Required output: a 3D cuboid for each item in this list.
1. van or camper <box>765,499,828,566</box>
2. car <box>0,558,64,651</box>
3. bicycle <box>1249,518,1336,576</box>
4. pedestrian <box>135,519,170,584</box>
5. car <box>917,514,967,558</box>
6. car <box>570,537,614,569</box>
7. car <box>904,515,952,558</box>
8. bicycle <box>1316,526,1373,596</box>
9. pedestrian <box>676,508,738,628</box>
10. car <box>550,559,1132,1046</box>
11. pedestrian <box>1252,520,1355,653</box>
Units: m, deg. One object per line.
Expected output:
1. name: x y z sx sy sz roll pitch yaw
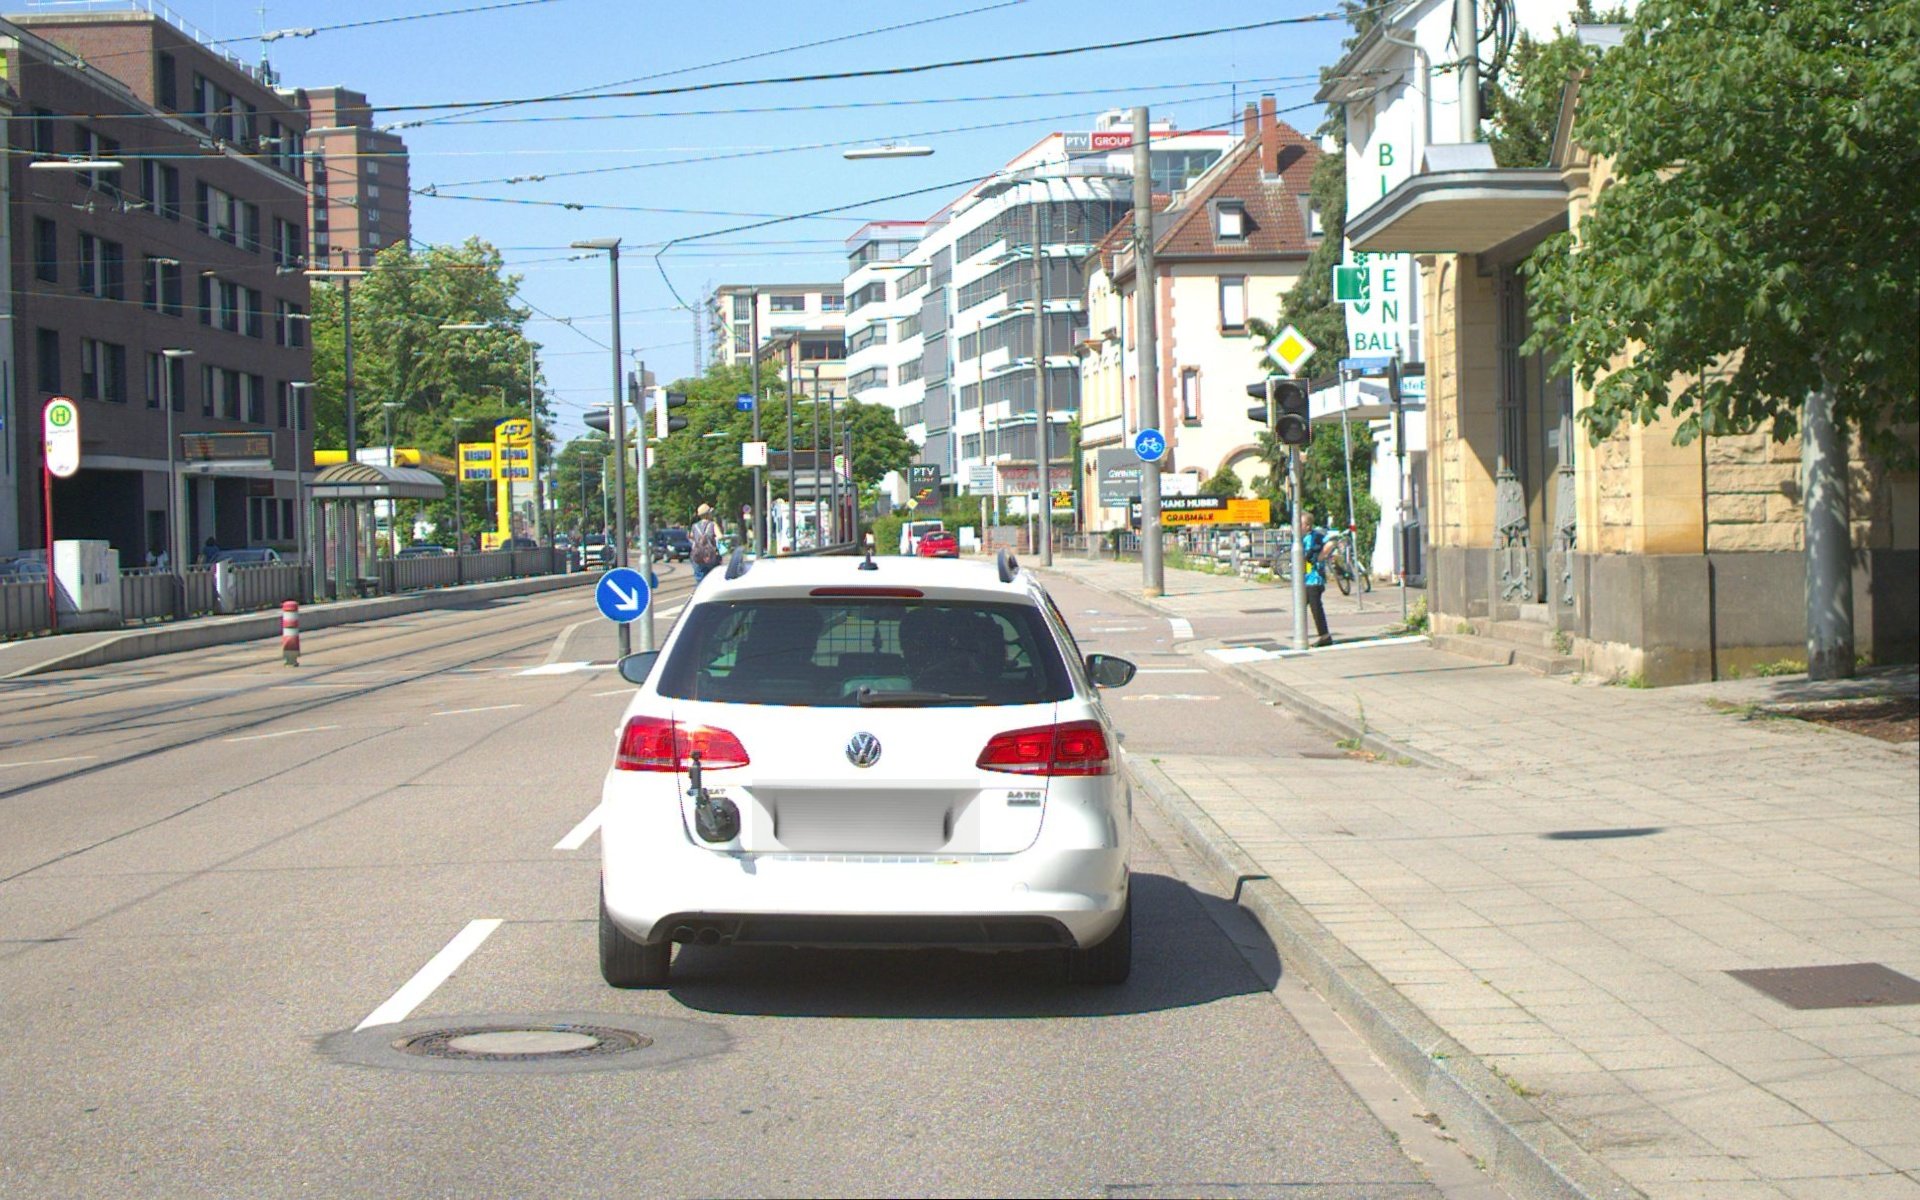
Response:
1. van or camper: -8.070 -3.356 170.315 2.943 3.169 6.614 -2 1 -2
2. car: -16.042 0.068 56.928 1.572 1.454 3.815 -2 1 -3
3. bicycle: 6.788 -1.081 70.273 1.712 1.126 0.525 -2 1 2
4. pedestrian: -22.175 -1.338 94.457 0.725 1.784 0.964 0 1 0
5. car: -0.848 -3.007 160.987 1.993 2.007 4.001 -2 1 -4
6. car: -17.436 -2.228 162.964 1.667 1.461 3.773 -2 1 0
7. car: -1.578 -3.096 166.408 1.993 2.007 4.001 -2 1 -4
8. bicycle: 6.616 -0.682 59.138 0.726 1.135 2.193 -1 1 12
9. pedestrian: -3.883 -0.496 52.875 0.826 1.803 0.833 -2 1 1
10. car: -0.293 0.591 12.351 1.753 1.413 3.853 1 1 2
11. pedestrian: 3.974 -0.158 39.726 0.856 1.505 0.781 -3 2 -44
